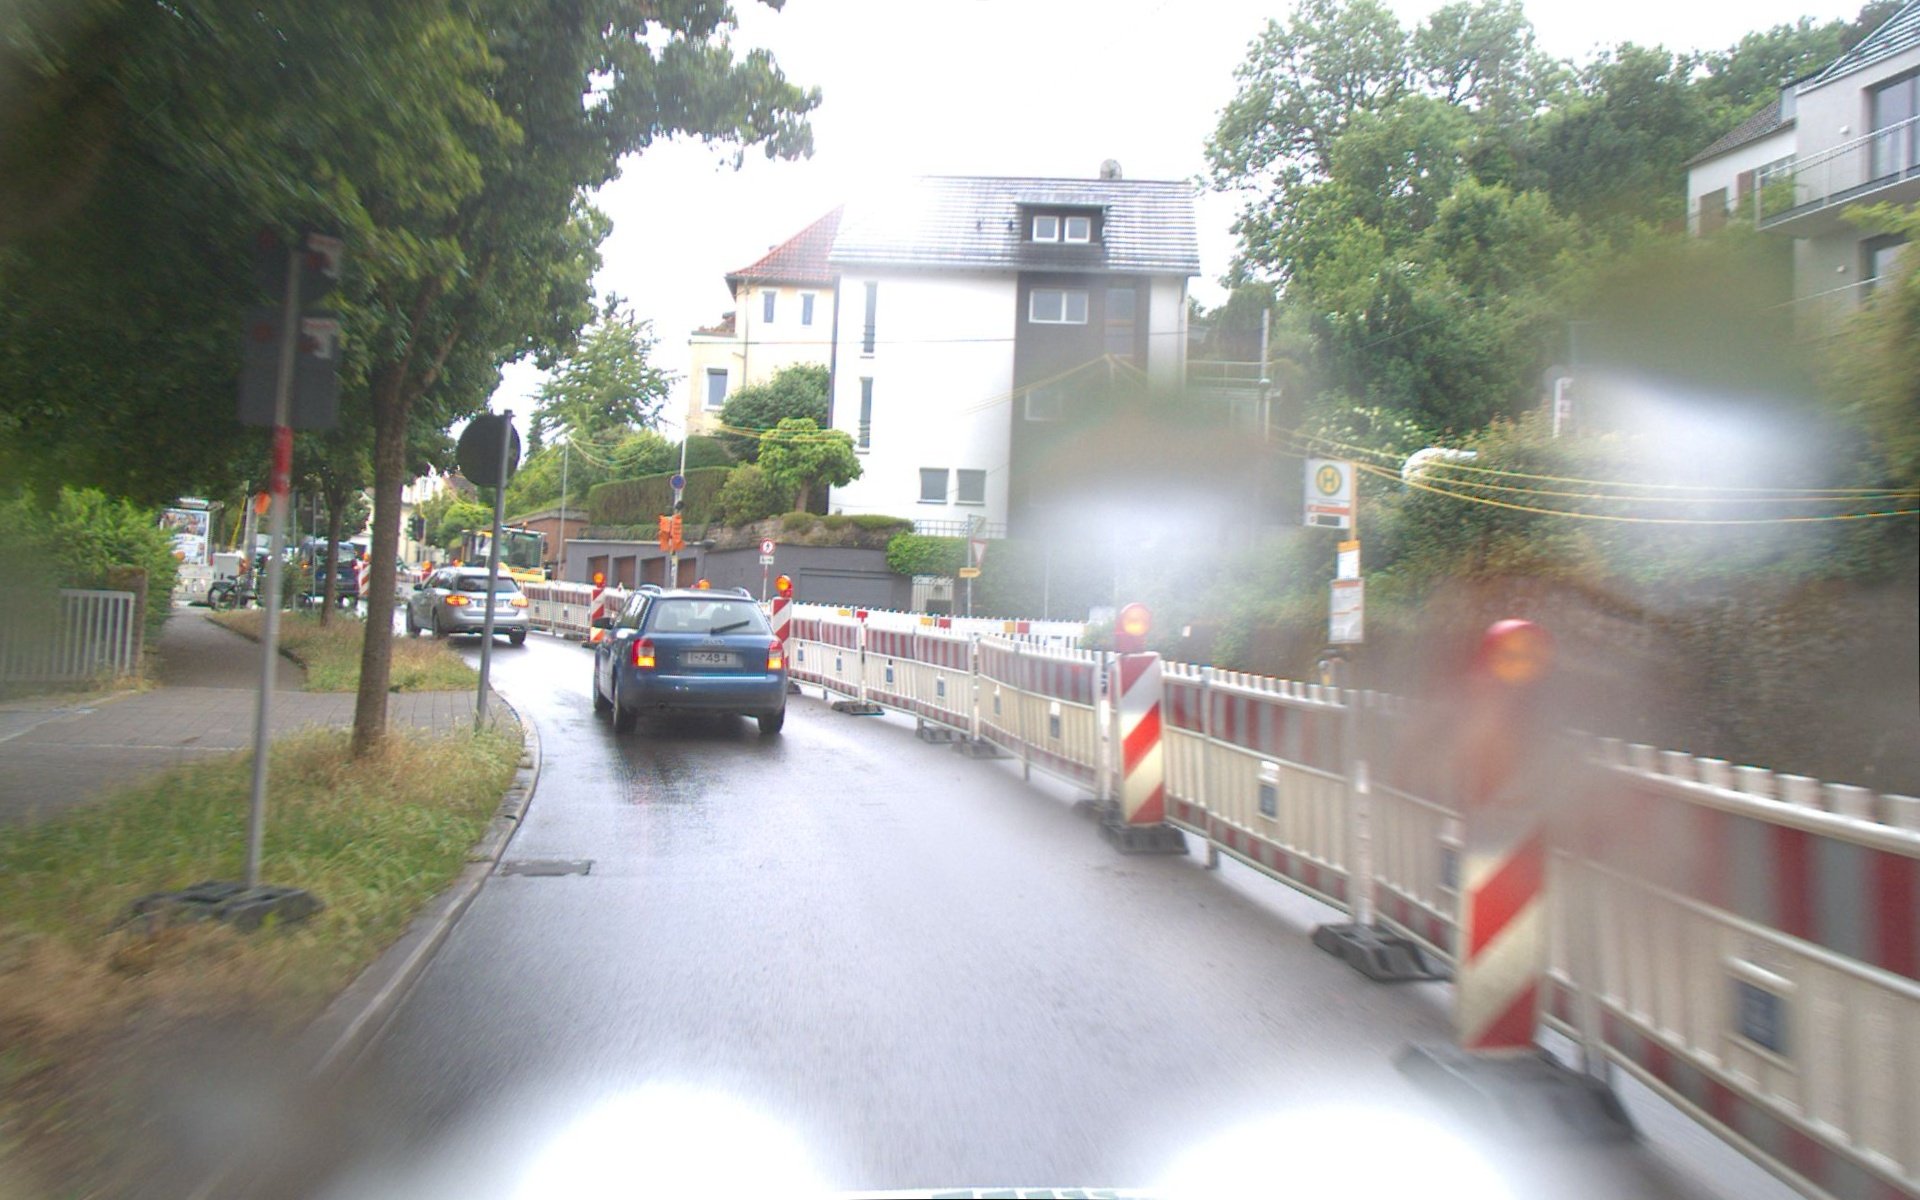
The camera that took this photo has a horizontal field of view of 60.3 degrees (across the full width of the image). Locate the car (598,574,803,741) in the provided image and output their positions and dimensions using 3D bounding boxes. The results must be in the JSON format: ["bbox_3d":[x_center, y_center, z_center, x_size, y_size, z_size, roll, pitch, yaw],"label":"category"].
[{"bbox_3d":[-2.887,0.535,17.752,1.756,1.467,3.949,3,1,-14],"label":"car"}]

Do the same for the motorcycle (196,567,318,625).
[{"bbox_3d":[-16.836,-0.098,39.631,2.570,1.255,0.881,3,-1,-30],"label":"motorcycle"}]

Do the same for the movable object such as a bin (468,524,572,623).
[{"bbox_3d":[-12.599,-0.798,47.207,1.971,2.659,3.963,1,2,-29],"label":"movable object such as a bin"}]

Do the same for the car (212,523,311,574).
[{"bbox_3d":[-24.202,-1.744,57.283,4.005,1.512,1.715,-2,-2,43],"label":"car"}]

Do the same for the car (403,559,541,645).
[{"bbox_3d":[-10.044,0.048,33.840,1.904,1.646,4.281,1,0,-28],"label":"car"}]

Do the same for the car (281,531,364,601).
[{"bbox_3d":[-18.674,-0.946,48.367,1.969,1.825,3.966,0,-2,-26],"label":"car"}]
